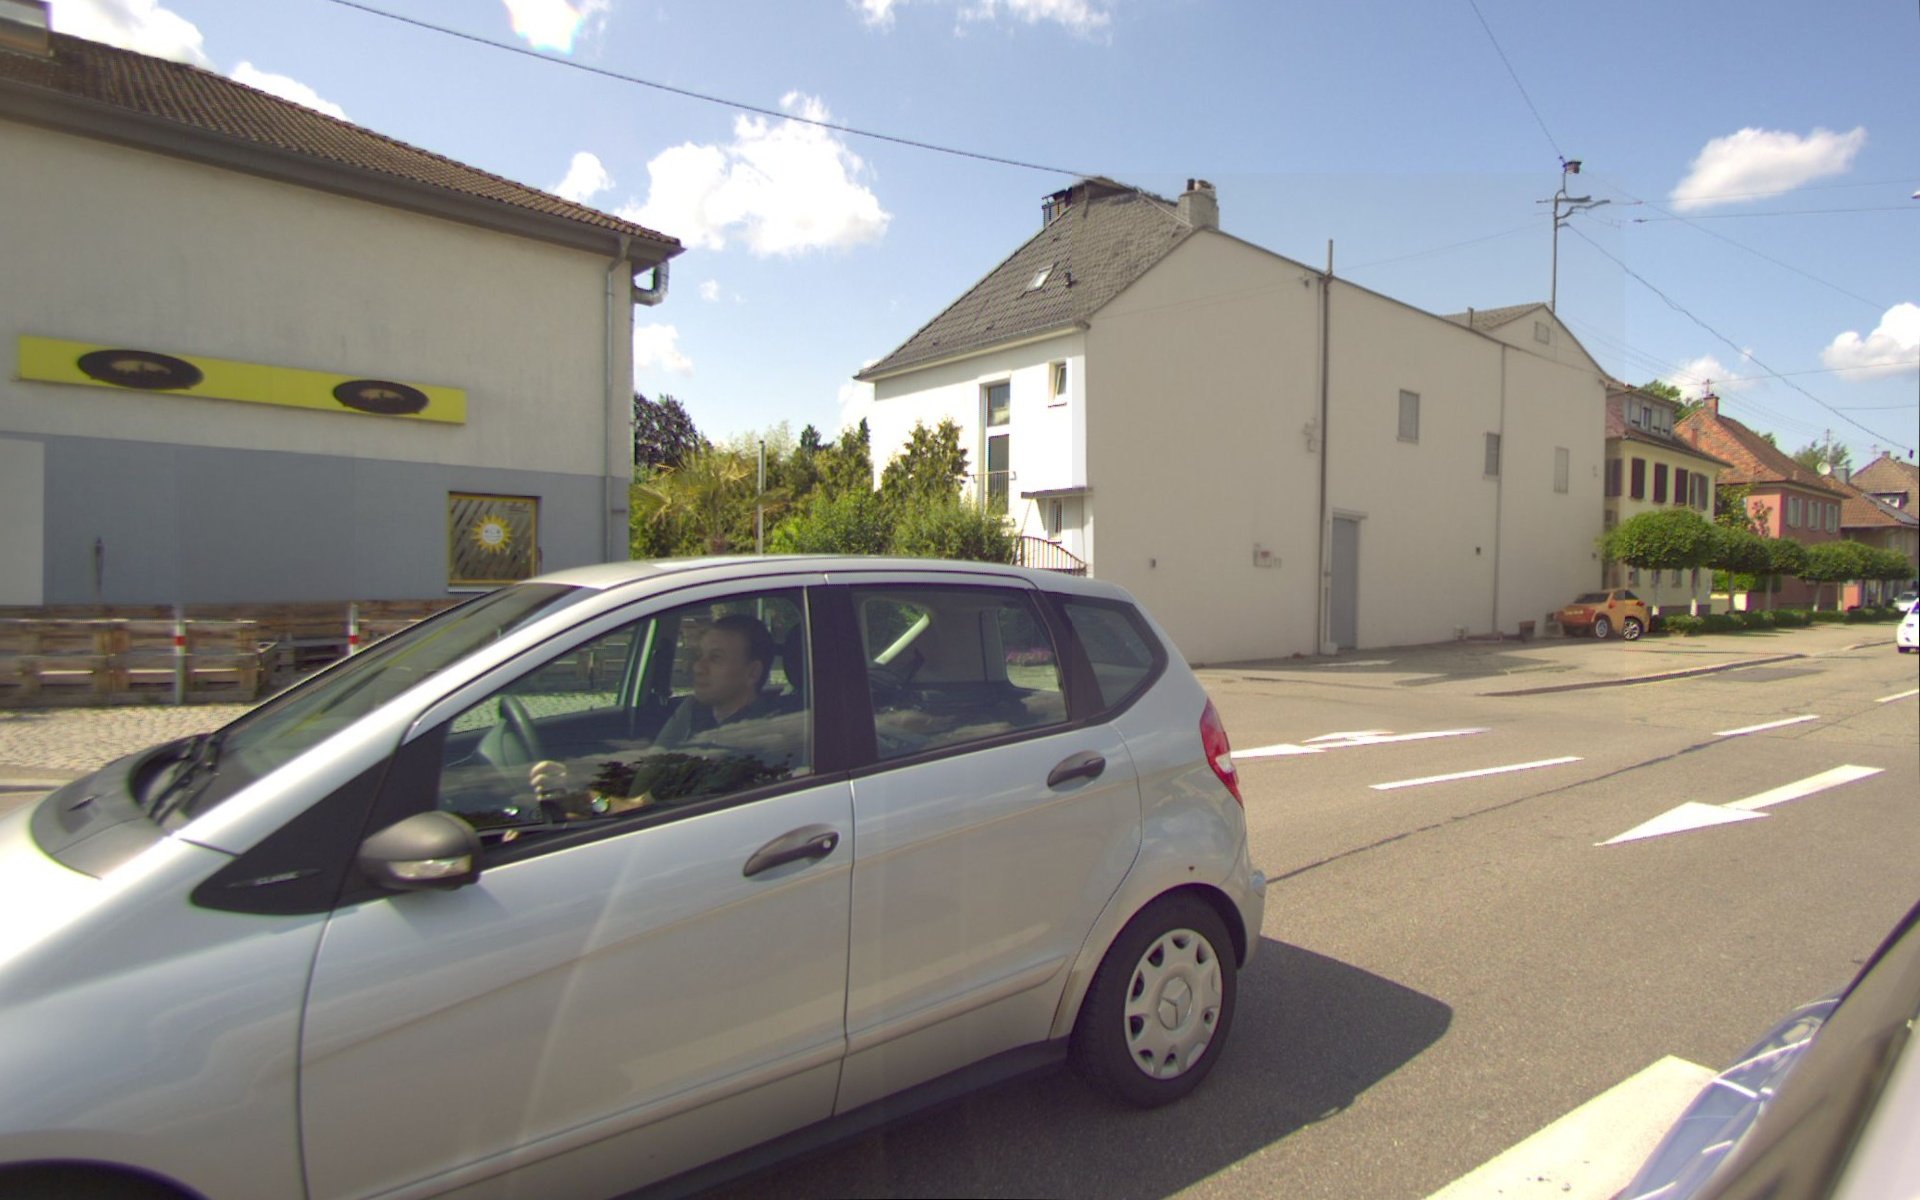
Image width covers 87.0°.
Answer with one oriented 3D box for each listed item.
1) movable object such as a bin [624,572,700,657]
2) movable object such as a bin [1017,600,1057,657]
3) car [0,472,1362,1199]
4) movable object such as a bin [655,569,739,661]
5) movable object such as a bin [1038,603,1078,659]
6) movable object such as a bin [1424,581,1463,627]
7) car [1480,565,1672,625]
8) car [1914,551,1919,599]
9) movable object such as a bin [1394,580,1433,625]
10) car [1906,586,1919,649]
[{"bbox_3d":[-4.948,0.231,16.767,0.869,1.349,1.209,2,0,-32],"label":"movable object such as a bin"},{"bbox_3d":[1.325,0.474,17.406,0.441,0.946,0.541,1,1,45],"label":"movable object such as a bin"},{"bbox_3d":[-0.802,0.592,2.909,4.018,1.596,1.792,-1,1,-36],"label":"car"},{"bbox_3d":[-4.082,0.221,15.682,0.871,1.349,1.084,2,0,-39],"label":"movable object such as a bin"},{"bbox_3d":[1.649,0.517,17.020,0.444,0.906,0.537,1,1,45],"label":"movable object such as a bin"},{"bbox_3d":[11.564,0.086,24.211,0.673,1.061,0.639,-1,0,-41],"label":"movable object such as a bin"},{"bbox_3d":[16.771,-0.146,27.760,4.026,1.476,1.911,2,1,10],"label":"car"},{"bbox_3d":[62.690,-1.622,64.070,6.127,2.967,2.158,-1,0,-36],"label":"car"},{"bbox_3d":[11.082,0.058,24.727,0.648,1.069,0.646,-1,0,-41],"label":"movable object such as a bin"},{"bbox_3d":[25.908,0.398,25.926,3.926,1.569,1.777,-1,0,-37],"label":"car"}]
